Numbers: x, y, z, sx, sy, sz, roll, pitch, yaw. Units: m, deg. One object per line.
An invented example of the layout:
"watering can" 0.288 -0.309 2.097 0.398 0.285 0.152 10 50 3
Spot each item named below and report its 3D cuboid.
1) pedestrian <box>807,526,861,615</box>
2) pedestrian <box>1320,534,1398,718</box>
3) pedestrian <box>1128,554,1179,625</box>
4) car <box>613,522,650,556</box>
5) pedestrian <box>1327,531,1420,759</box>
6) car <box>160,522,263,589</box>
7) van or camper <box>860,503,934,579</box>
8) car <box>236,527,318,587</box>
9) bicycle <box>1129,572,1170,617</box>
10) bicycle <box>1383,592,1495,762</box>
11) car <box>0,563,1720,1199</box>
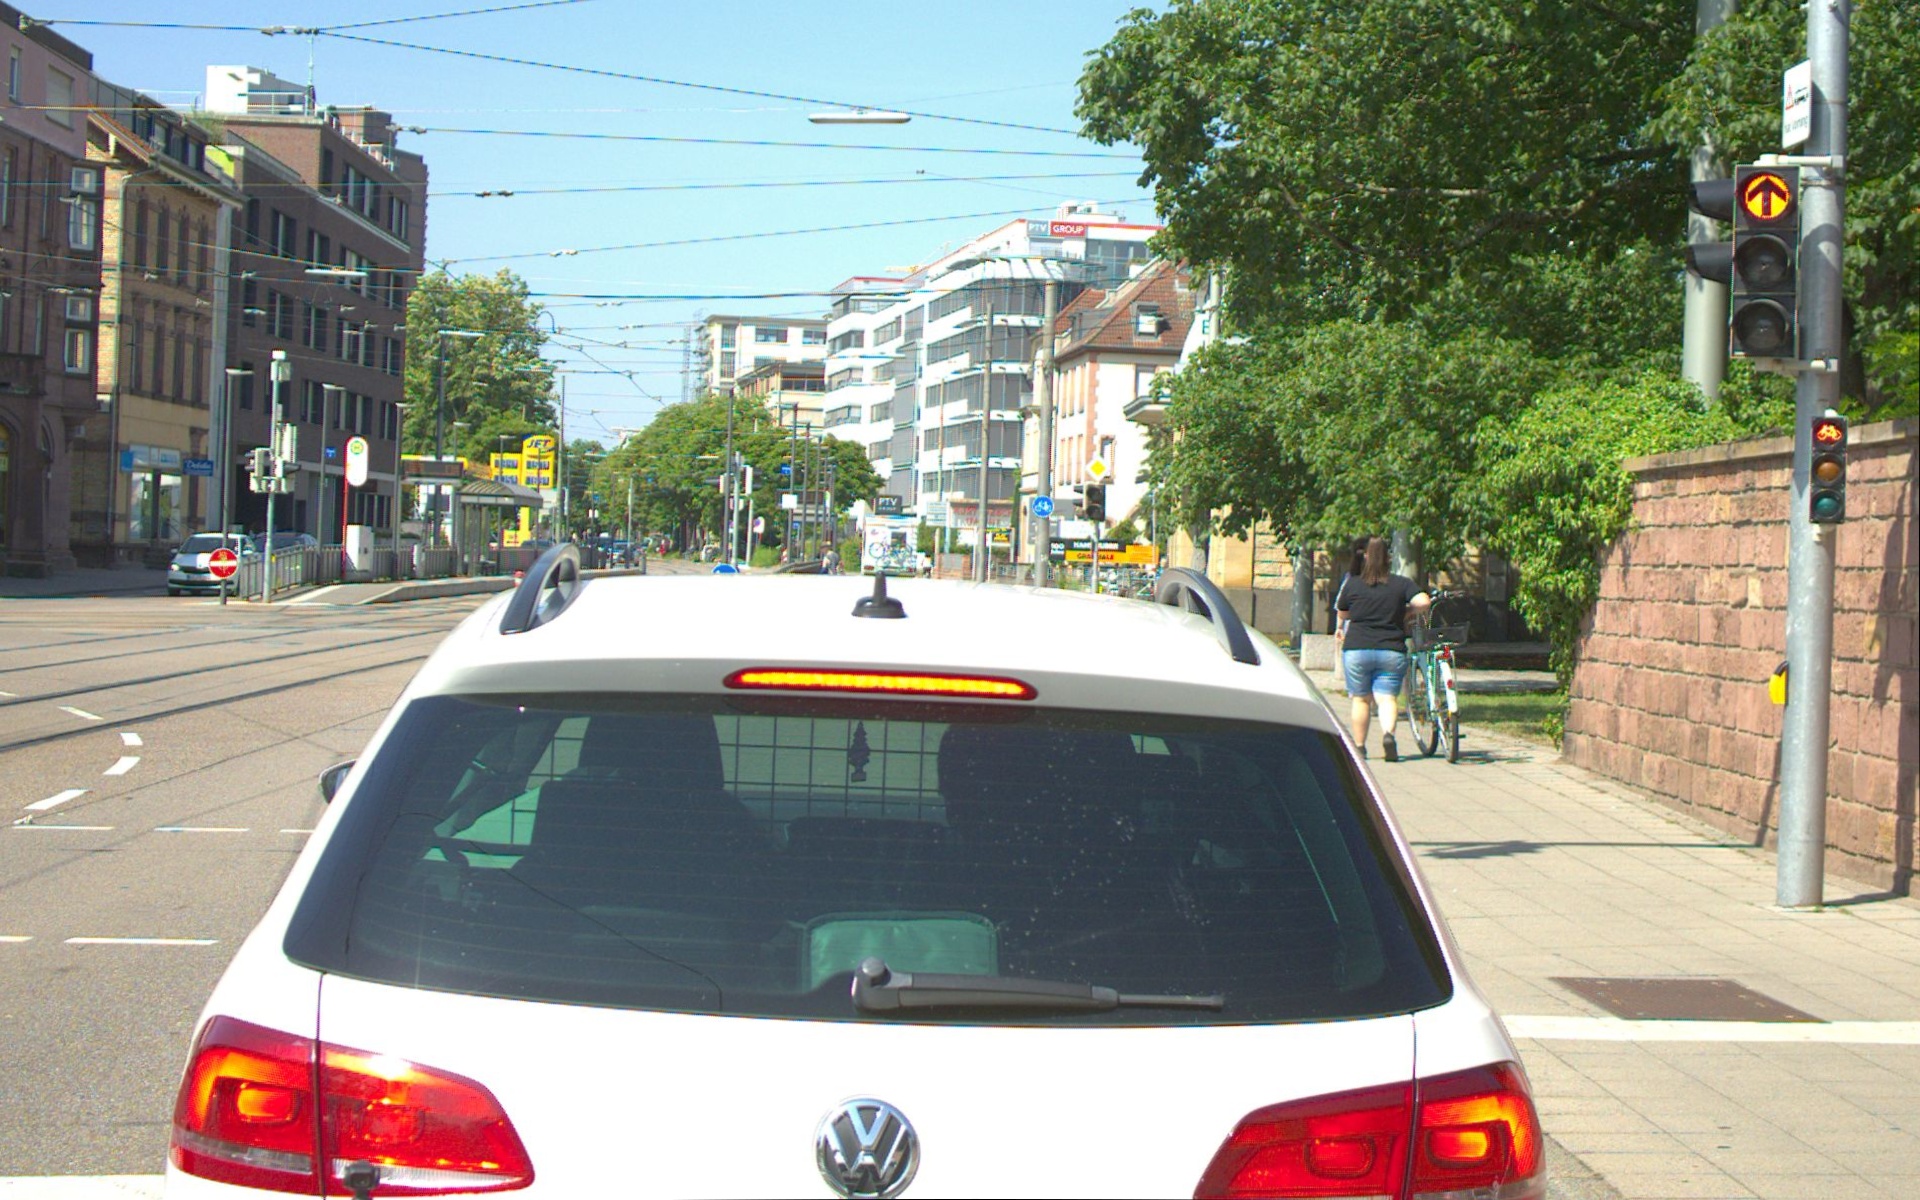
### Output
"pedestrian" -2.589 -0.603 70.788 0.831 1.803 0.828 2 1 16
"pedestrian" 3.727 0.232 32.142 0.650 1.676 0.707 2 1 5
"pedestrian" 4.247 -0.231 75.398 0.857 1.505 0.781 2 1 21
"car" -20.038 -3.685 209.609 1.993 2.007 4.000 1 1 -2
"pedestrian" 2.834 0.299 23.582 0.540 1.543 0.663 0 1 -1
"car" -17.456 -1.038 80.335 1.625 1.426 3.963 3 1 -2
"van or camper" -2.802 -2.604 150.850 2.943 3.169 6.614 2 1 -3
"car" -17.481 -1.108 88.124 1.572 1.454 3.815 2 1 -4
"bicycle" 4.986 -0.144 90.392 0.726 1.135 2.193 2 1 12
"bicycle" 3.294 0.510 23.751 0.536 1.107 1.807 1 0 1
"car" -0.155 0.689 5.388 1.752 1.413 3.853 2 1 -1
